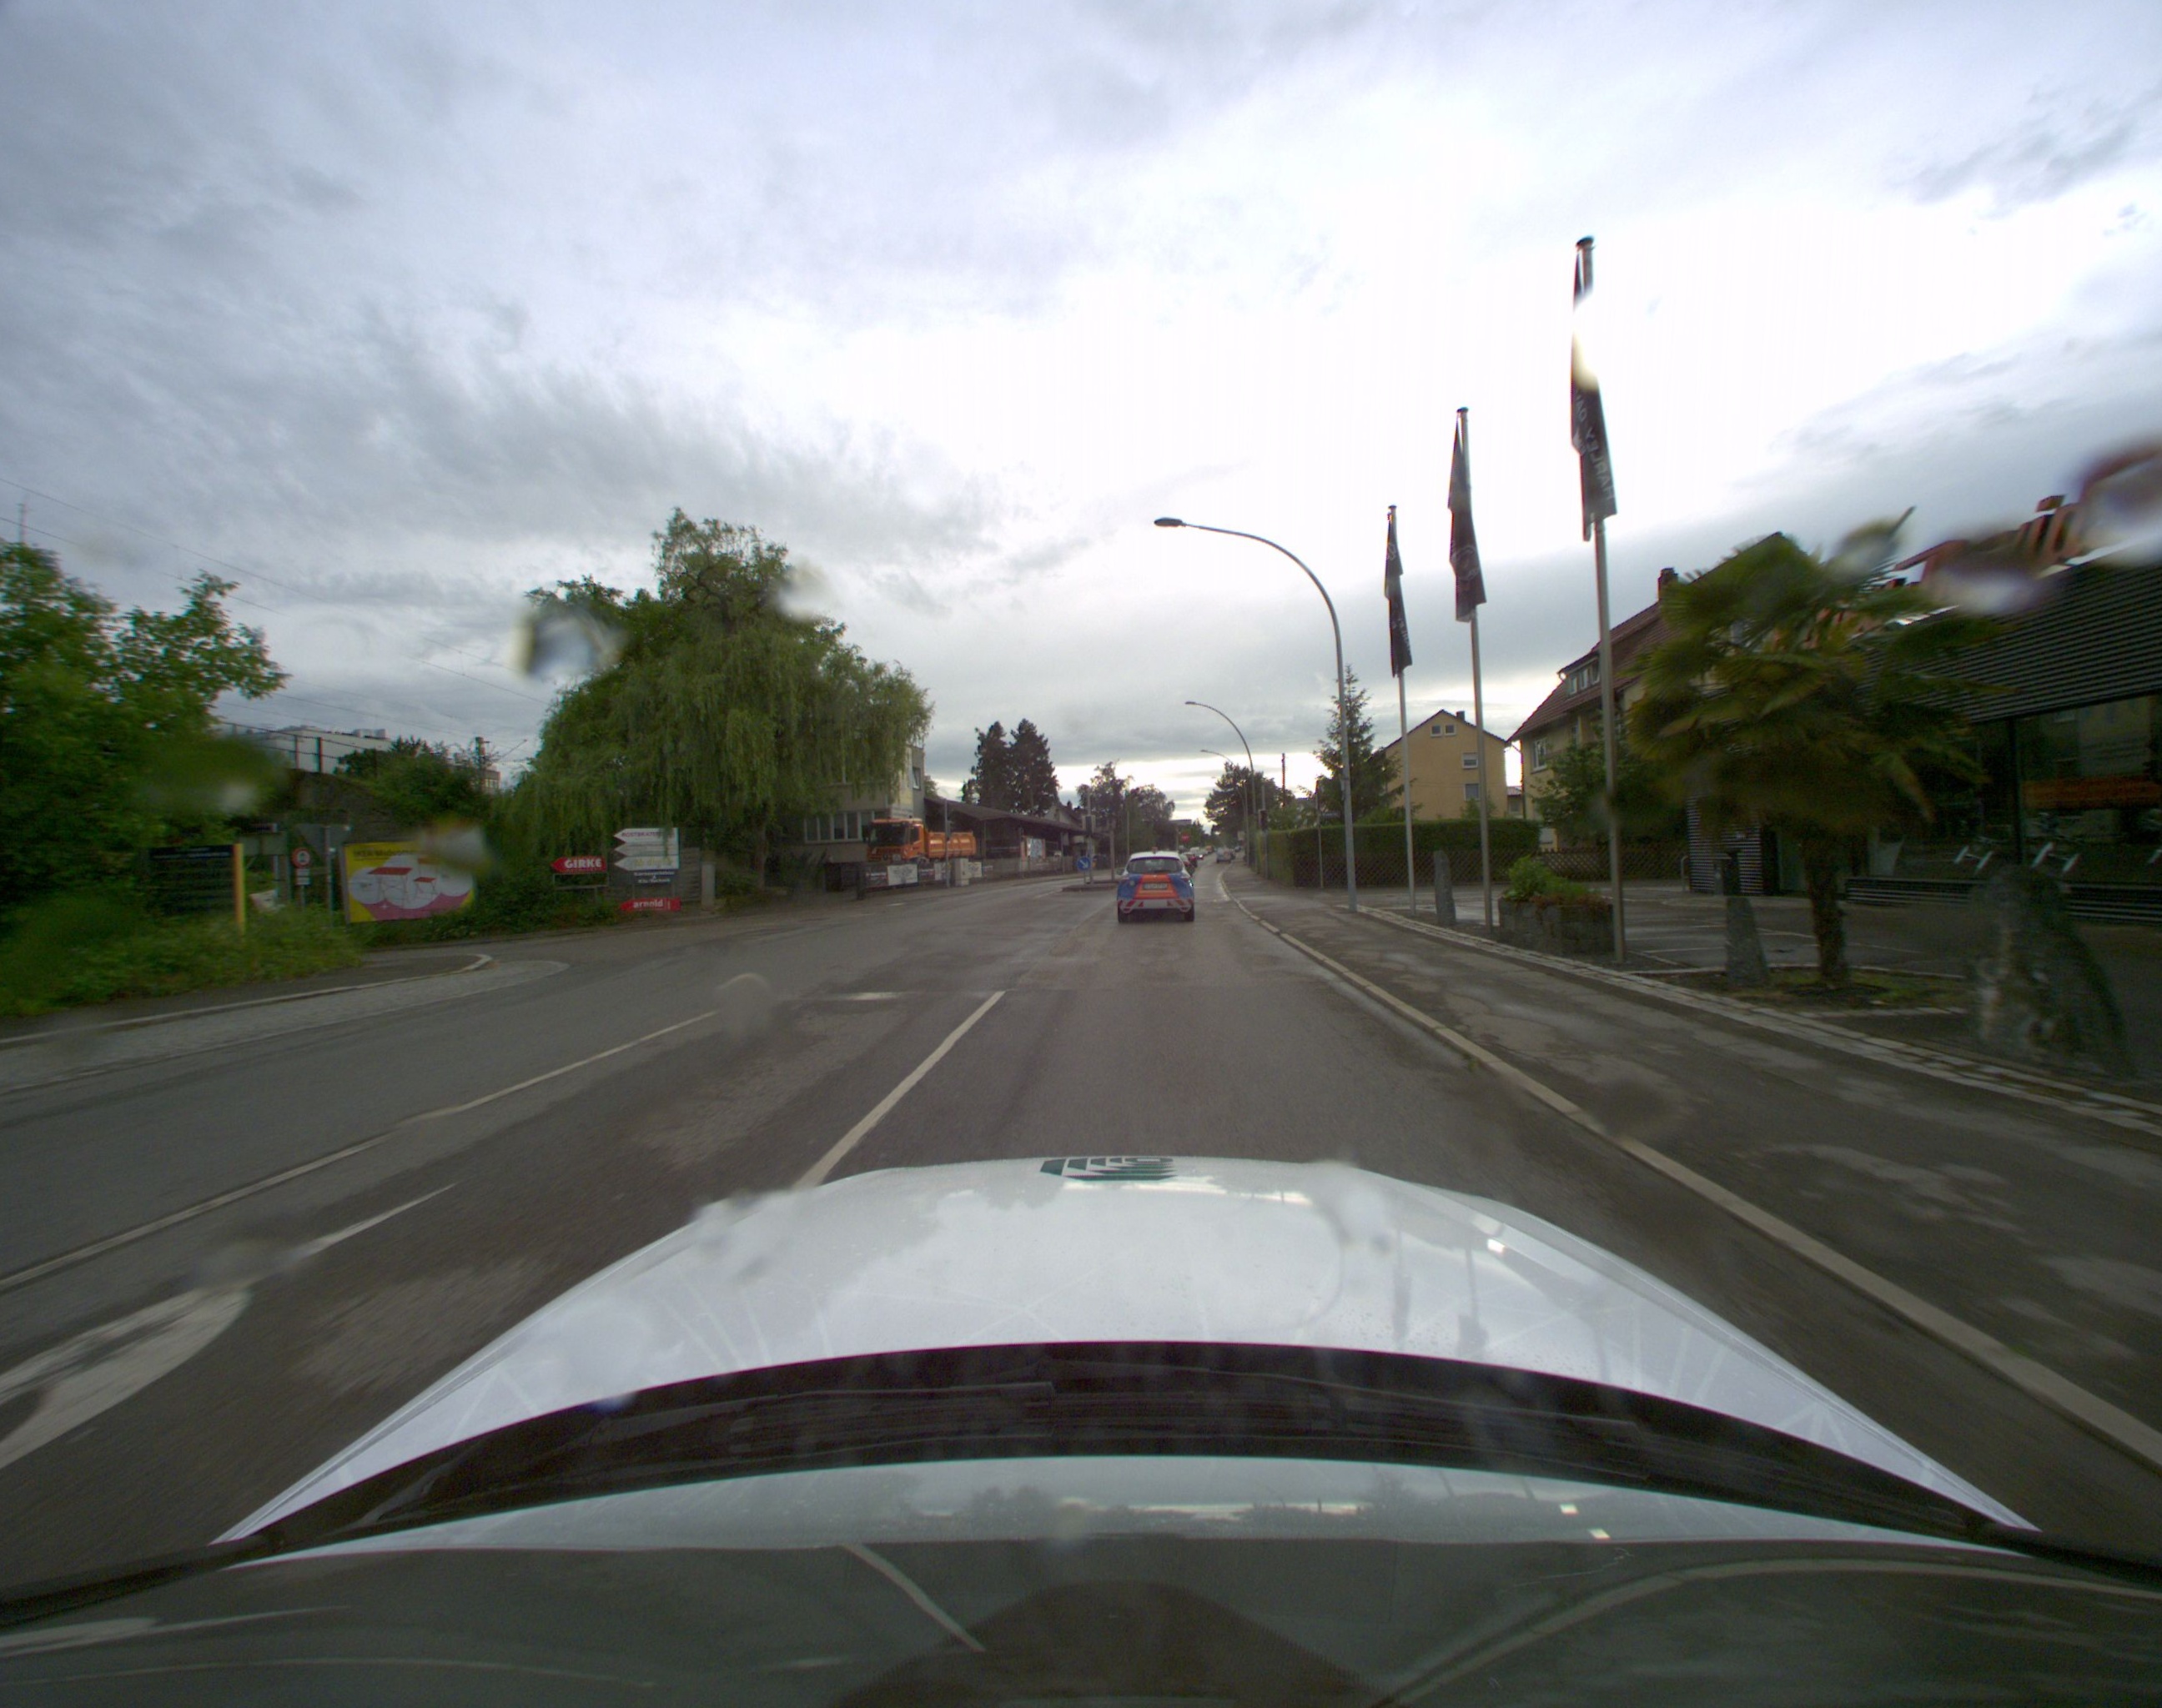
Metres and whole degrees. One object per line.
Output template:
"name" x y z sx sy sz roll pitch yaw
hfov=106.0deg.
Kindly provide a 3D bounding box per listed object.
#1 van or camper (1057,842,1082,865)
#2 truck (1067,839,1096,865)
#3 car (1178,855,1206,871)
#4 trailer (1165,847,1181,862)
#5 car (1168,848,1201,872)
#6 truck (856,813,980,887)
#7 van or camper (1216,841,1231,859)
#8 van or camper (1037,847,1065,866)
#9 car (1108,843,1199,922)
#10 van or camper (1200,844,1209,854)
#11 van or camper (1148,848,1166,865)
"van or camper" -1.204 -0.042 90.525 1.848 2.438 5.247 1 -2 10
"truck" 0.105 -0.200 96.123 2.379 2.927 5.974 0 -1 11
"car" 10.724 0.895 78.227 1.978 1.420 4.018 0 -2 18
"trailer" 14.801 0.090 131.103 2.207 2.013 4.449 -5 2 9
"car" 6.320 0.423 50.062 1.713 1.376 3.936 0 -2 3
"truck" -8.212 -0.055 42.601 2.678 3.412 9.104 0 -2 14
"van or camper" 17.699 -0.439 101.463 1.744 1.883 4.009 2 -3 9
"van or camper" -3.064 0.247 83.838 1.982 1.909 4.483 0 0 9
"car" 1.738 0.607 19.521 1.880 1.632 4.006 -2 0 5
"van or camper" 34.052 -1.402 224.531 1.981 2.775 5.455 -2 0 10
"van or camper" 9.837 0.337 104.854 1.878 2.014 5.111 0 -2 11
